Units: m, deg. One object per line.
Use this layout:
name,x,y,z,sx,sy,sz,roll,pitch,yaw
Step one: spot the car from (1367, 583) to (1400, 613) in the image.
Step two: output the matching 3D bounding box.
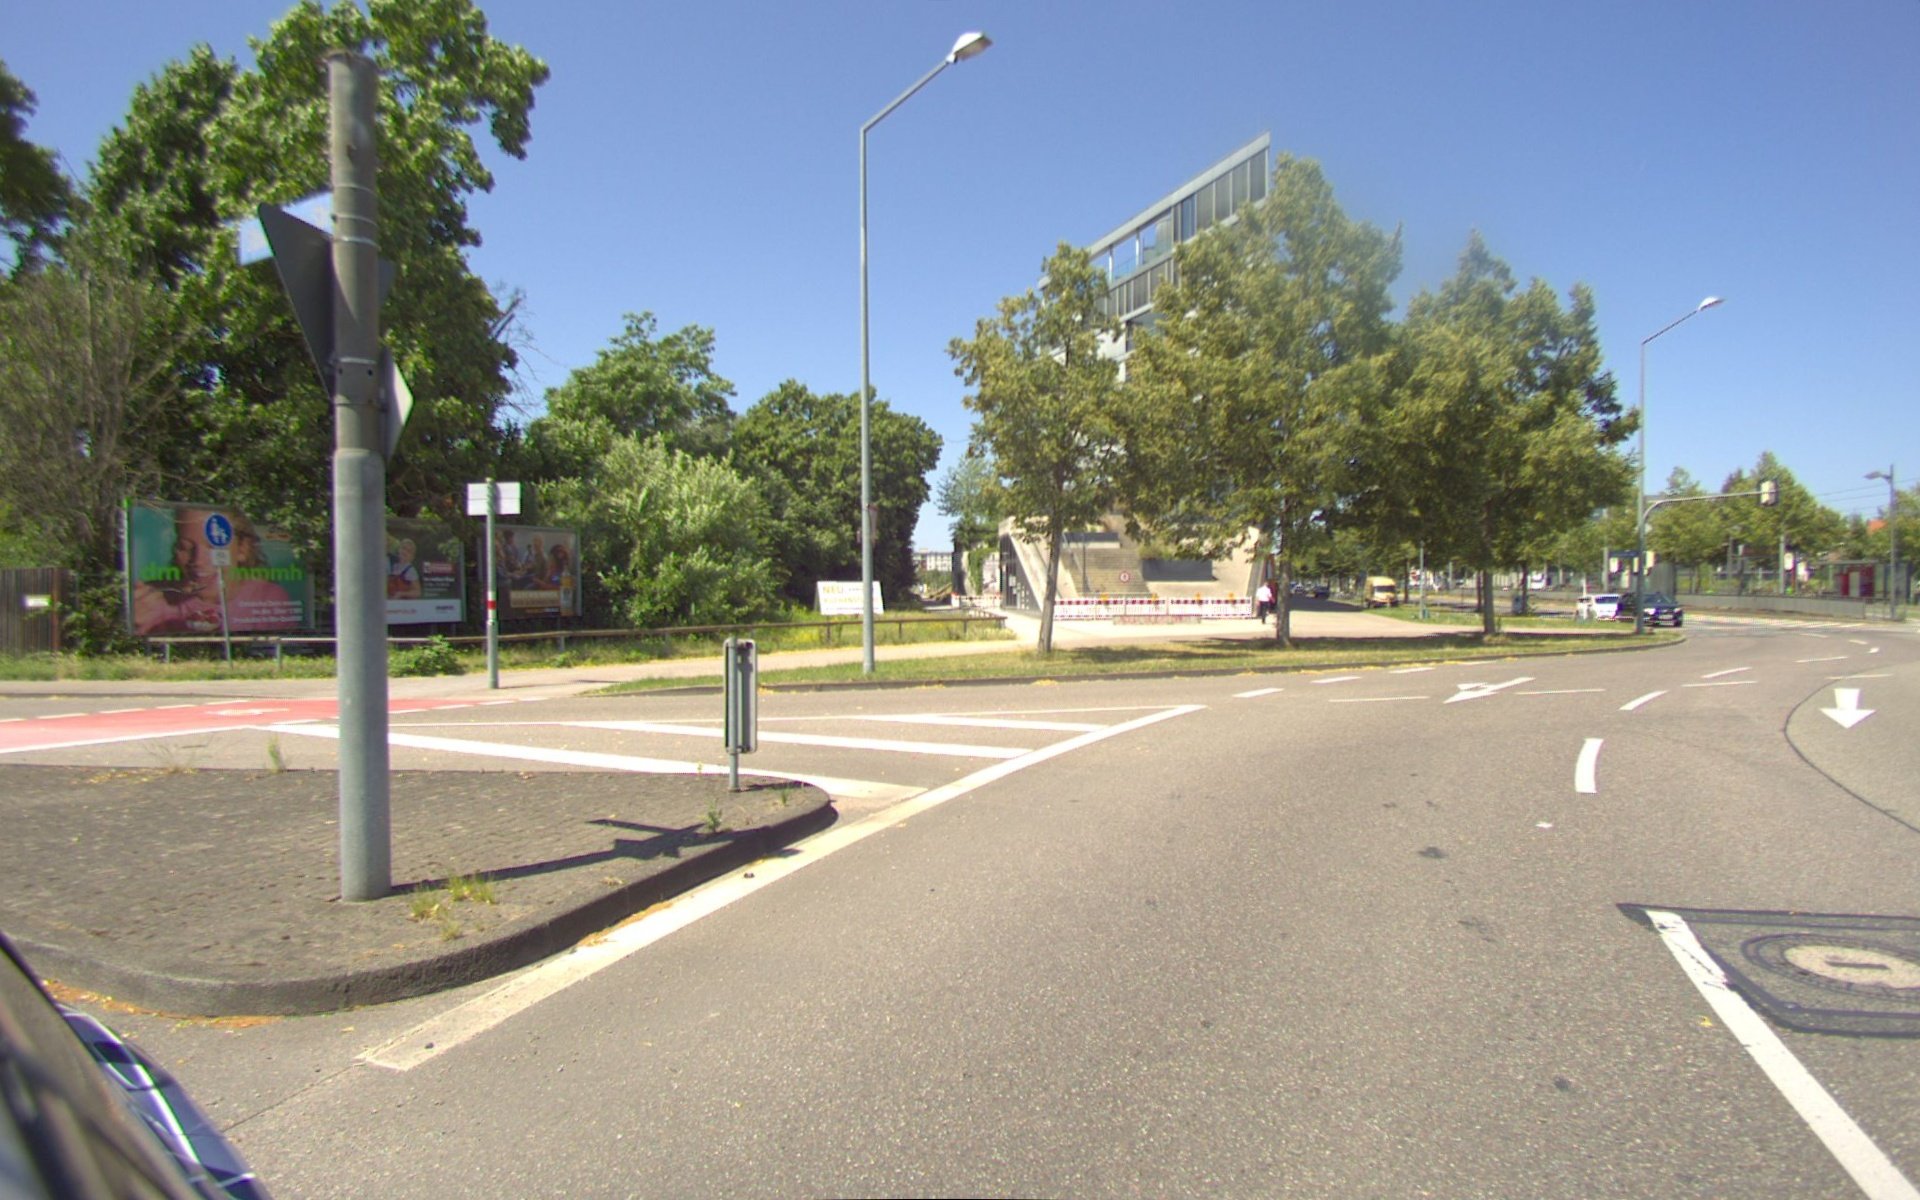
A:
car,37.155,-0.207,88.890,1.980,2.527,3.984,-1,0,13

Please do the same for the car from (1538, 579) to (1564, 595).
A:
car,75.441,-1.691,129.208,1.982,2.028,3.980,0,2,16

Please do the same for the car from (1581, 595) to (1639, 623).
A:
car,32.557,0.446,50.778,1.564,1.234,3.305,0,2,17

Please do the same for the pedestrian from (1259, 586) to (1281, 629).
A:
pedestrian,13.634,0.324,44.539,0.831,1.882,0.605,1,2,30

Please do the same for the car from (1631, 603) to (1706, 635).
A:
car,31.716,0.812,45.388,1.726,1.221,3.547,0,2,17
